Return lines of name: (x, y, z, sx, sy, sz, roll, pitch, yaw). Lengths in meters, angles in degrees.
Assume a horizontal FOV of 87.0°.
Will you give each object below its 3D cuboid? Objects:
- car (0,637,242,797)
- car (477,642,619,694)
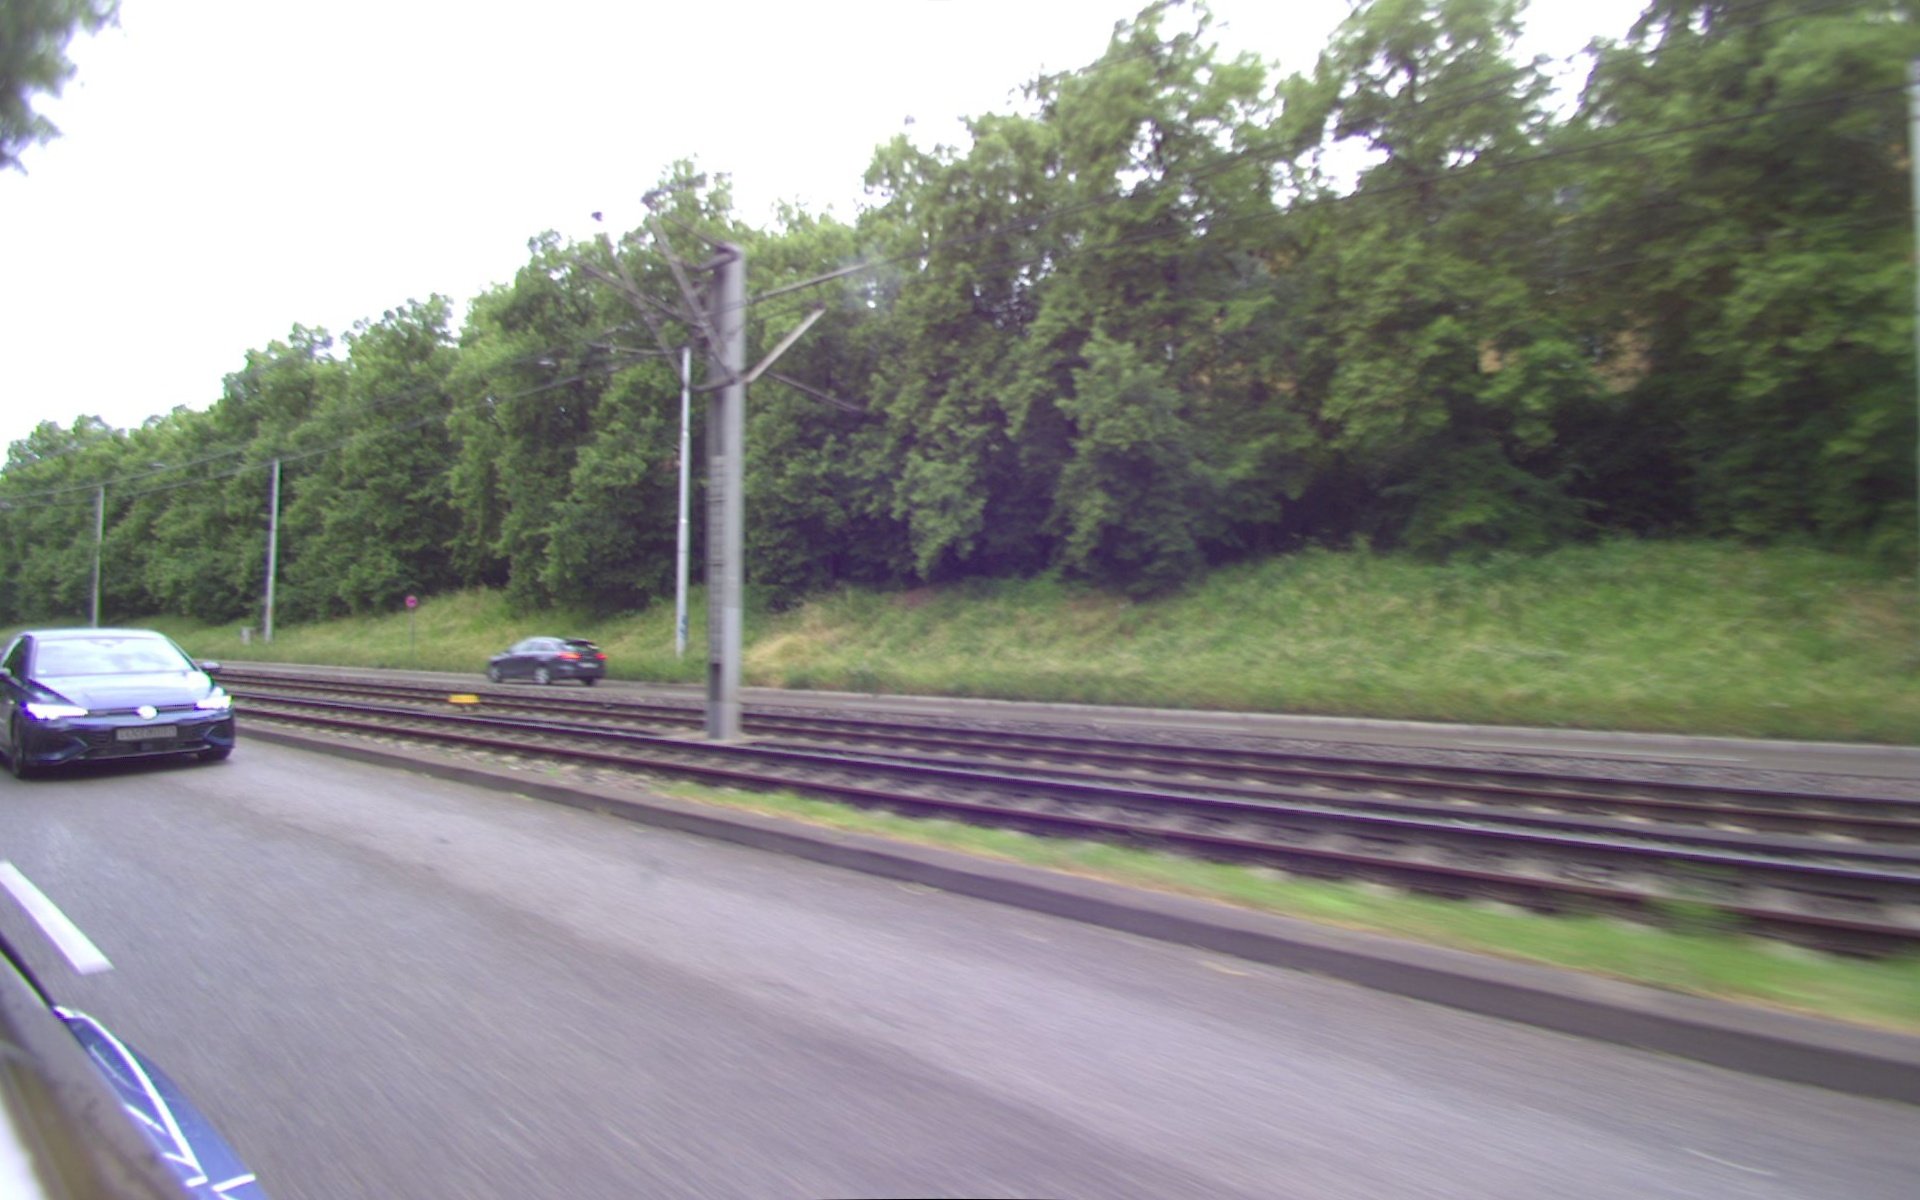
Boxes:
car: (-9.713, 1.140, 11.308, 4.344, 1.389, 1.789, -2, -1, 41)
car: (-12.904, 2.091, 31.643, 4.420, 1.442, 1.976, -1, -4, 35)
